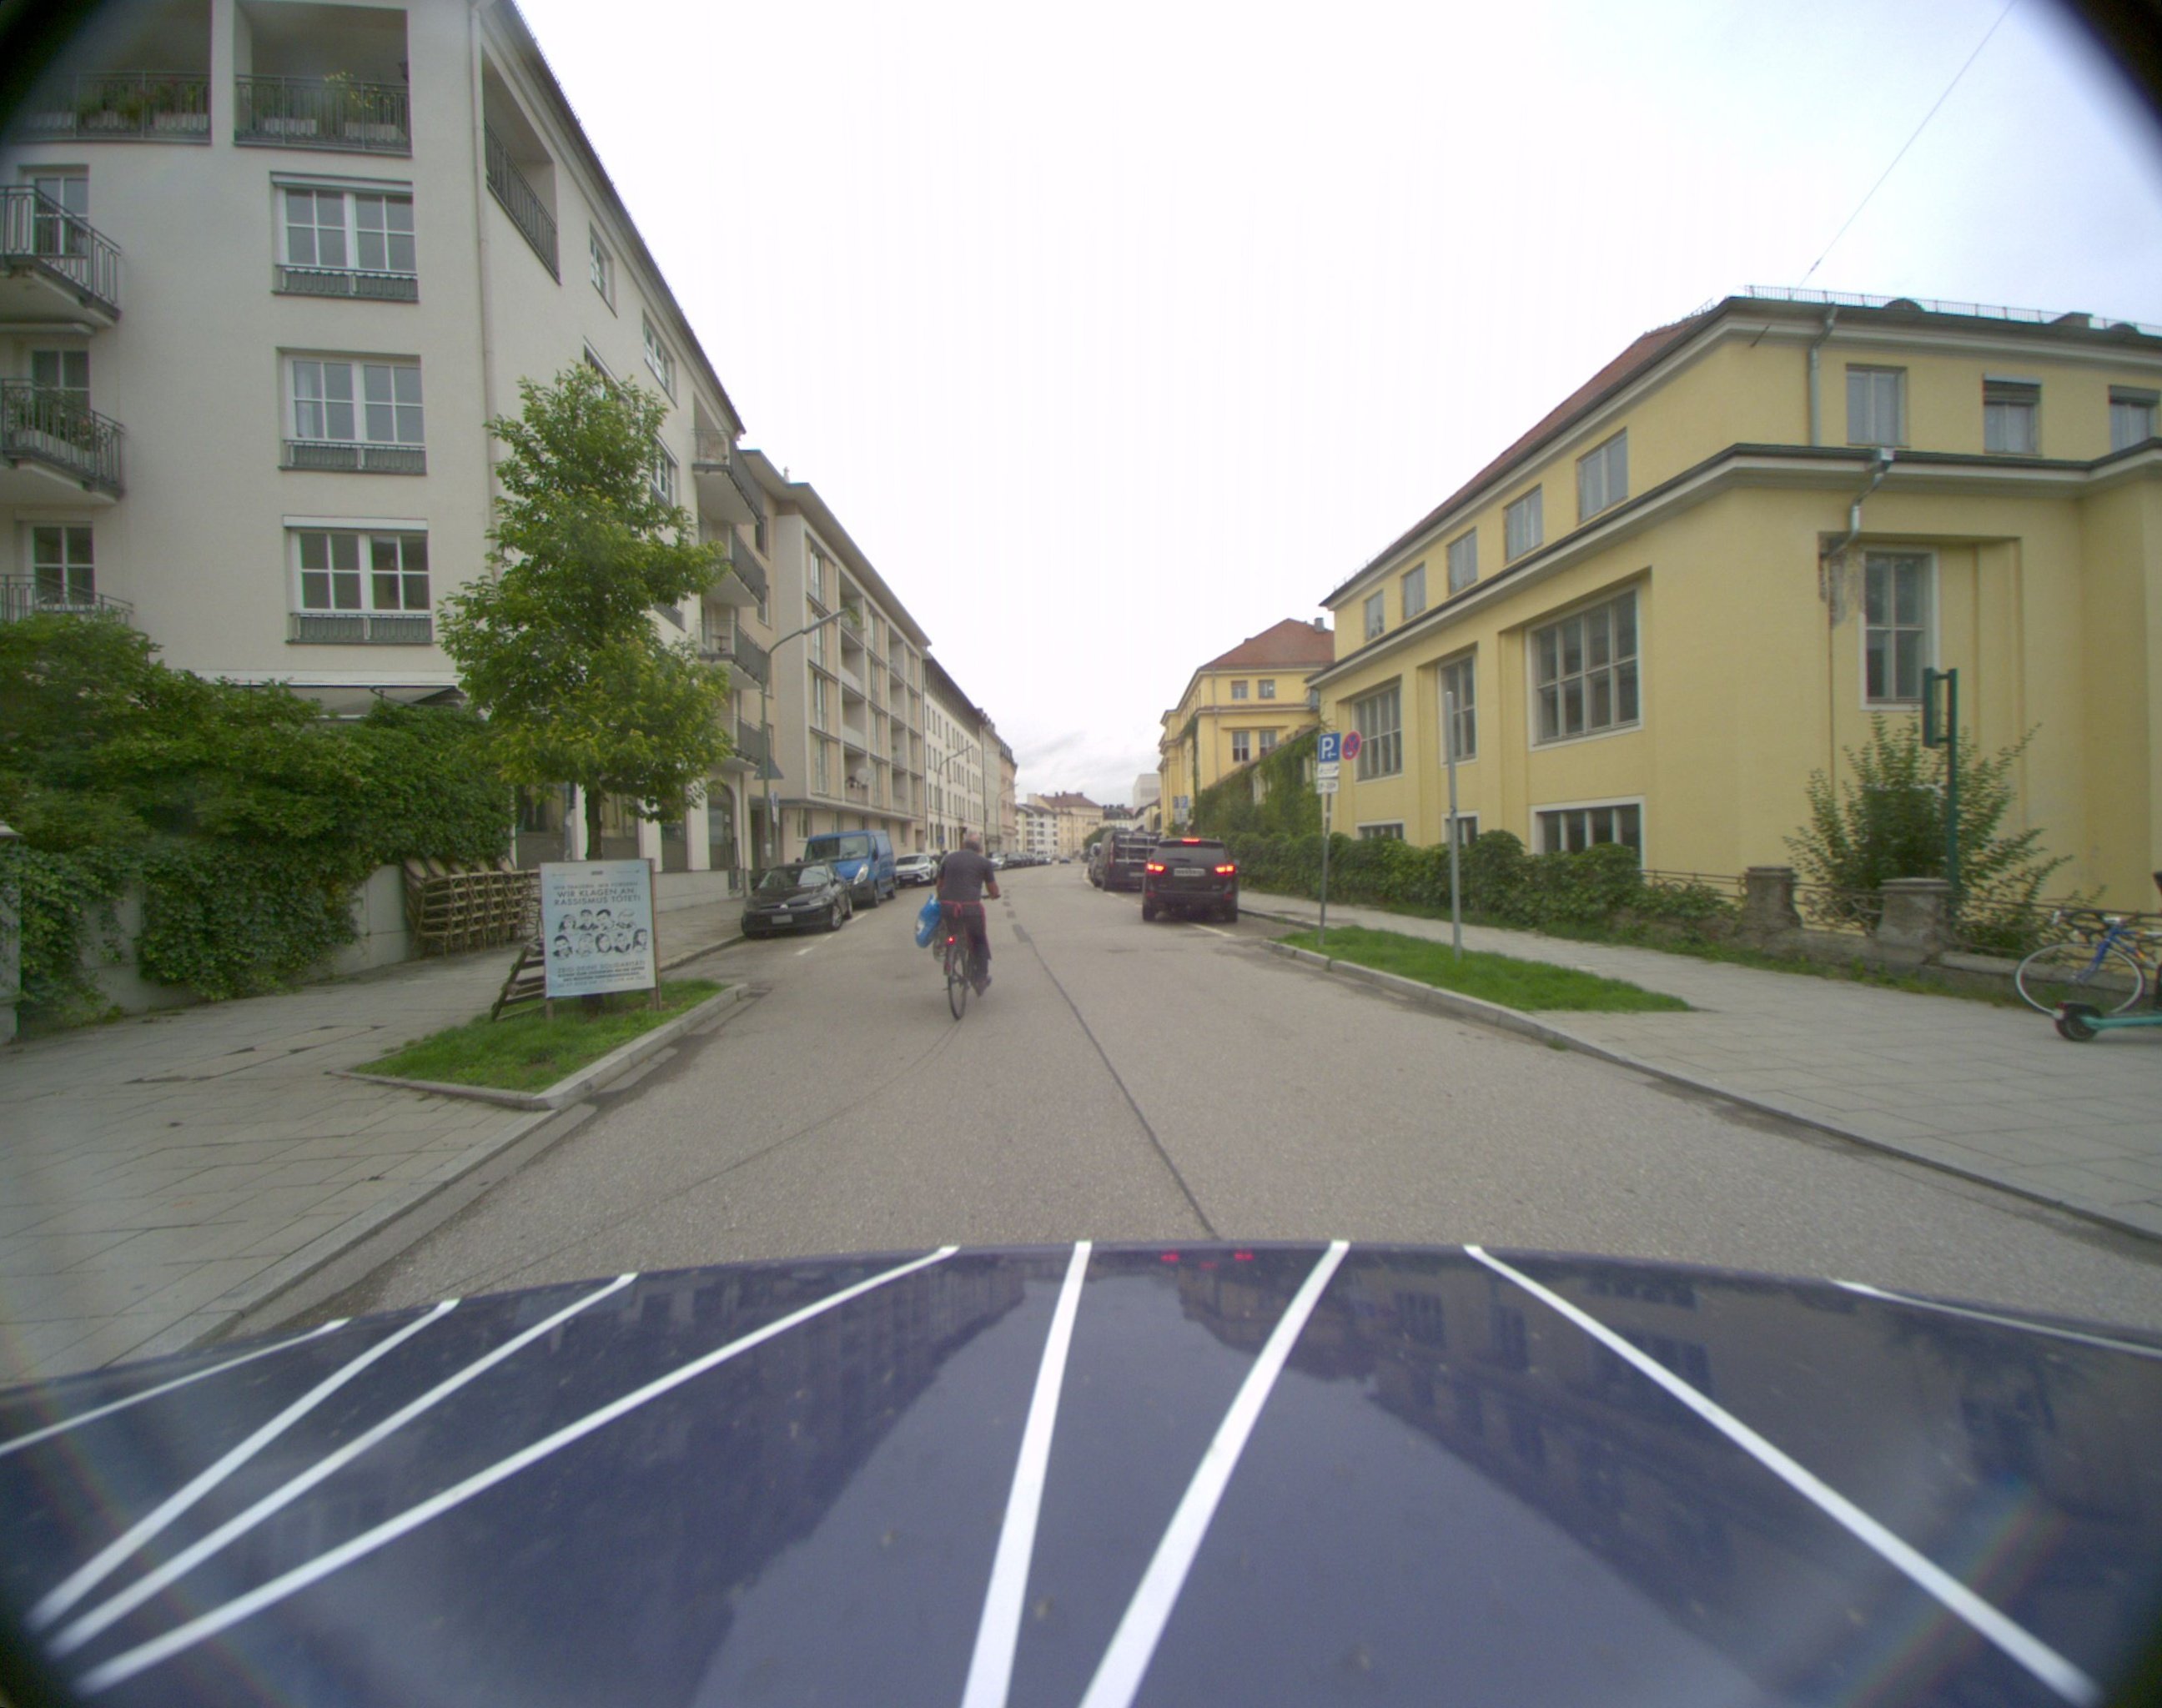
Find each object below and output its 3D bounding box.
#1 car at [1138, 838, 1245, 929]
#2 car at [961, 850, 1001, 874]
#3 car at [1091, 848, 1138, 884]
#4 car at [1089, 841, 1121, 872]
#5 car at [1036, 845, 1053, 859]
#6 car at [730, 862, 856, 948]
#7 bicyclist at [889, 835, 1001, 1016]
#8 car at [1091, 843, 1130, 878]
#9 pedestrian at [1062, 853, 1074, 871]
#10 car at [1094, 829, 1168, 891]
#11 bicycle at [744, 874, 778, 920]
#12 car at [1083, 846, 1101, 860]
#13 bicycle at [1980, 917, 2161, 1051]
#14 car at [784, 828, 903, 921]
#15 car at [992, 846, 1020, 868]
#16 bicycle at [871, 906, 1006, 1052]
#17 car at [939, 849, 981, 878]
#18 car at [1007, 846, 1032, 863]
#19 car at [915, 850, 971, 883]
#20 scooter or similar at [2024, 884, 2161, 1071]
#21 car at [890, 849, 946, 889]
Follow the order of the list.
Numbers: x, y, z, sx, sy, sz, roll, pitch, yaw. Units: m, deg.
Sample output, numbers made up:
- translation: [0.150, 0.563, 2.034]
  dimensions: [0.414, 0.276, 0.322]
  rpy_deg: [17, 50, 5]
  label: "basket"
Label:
- translation: [2.522, 0.555, 16.808]
  dimensions: [1.997, 1.709, 4.618]
  rpy_deg: [-1, 0, 11]
  label: "car"
- translation: [-6.456, 0.469, 49.417]
  dimensions: [1.831, 1.373, 4.491]
  rpy_deg: [-4, 0, 1]
  label: "car"
- translation: [1.370, 0.488, 32.567]
  dimensions: [1.711, 1.357, 4.001]
  rpy_deg: [3, 0, -1]
  label: "car"
- translation: [1.494, 0.133, 48.420]
  dimensions: [1.898, 1.788, 4.881]
  rpy_deg: [3, 0, 1]
  label: "car"
- translation: [-4.473, -0.259, 94.111]
  dimensions: [1.768, 1.531, 4.000]
  rpy_deg: [-4, 0, 2]
  label: "car"
- translation: [-5.976, 0.969, 16.254]
  dimensions: [1.720, 1.387, 3.996]
  rpy_deg: [-5, 1, -10]
  label: "car"
- translation: [-1.269, 0.640, 7.321]
  dimensions: [0.877, 1.600, 1.049]
  rpy_deg: [-1, 1, -2]
  label: "bicyclist"
- translation: [1.398, 0.308, 37.719]
  dimensions: [1.706, 1.597, 4.490]
  rpy_deg: [2, 0, 0]
  label: "car"
- translation: [-2.088, 1.247, 124.669]
  dimensions: [1.929, 2.933, 2.025]
  rpy_deg: [0, 0, 1]
  label: "pedestrian"
- translation: [1.669, 0.210, 27.081]
  dimensions: [1.931, 1.967, 4.620]
  rpy_deg: [1, 0, -5]
  label: "car"
- translation: [-8.217, 1.079, 19.577]
  dimensions: [0.567, 1.063, 1.785]
  rpy_deg: [-1, 0, -16]
  label: "bicycle"
- translation: [2.165, -0.149, 147.805]
  dimensions: [2.848, 2.536, 6.889]
  rpy_deg: [-1, 0, -5]
  label: "car"
- translation: [8.198, 1.021, 5.999]
  dimensions: [0.435, 0.888, 1.327]
  rpy_deg: [-2, 3, -26]
  label: "bicycle"
- translation: [-6.825, 0.454, 22.477]
  dimensions: [2.115, 2.202, 5.024]
  rpy_deg: [-6, 3, -5]
  label: "car"
- translation: [-5.944, 0.231, 60.467]
  dimensions: [1.618, 1.508, 3.380]
  rpy_deg: [-5, 0, 2]
  label: "car"
- translation: [-1.260, 1.084, 7.242]
  dimensions: [0.878, 1.013, 2.190]
  rpy_deg: [-1, 0, -1]
  label: "bicycle"
- translation: [-6.996, 0.498, 44.387]
  dimensions: [1.706, 1.460, 4.119]
  rpy_deg: [-6, 1, -1]
  label: "car"
- translation: [-5.631, 0.081, 70.147]
  dimensions: [1.878, 1.439, 4.700]
  rpy_deg: [-3, 0, 0]
  label: "car"
- translation: [-7.027, 0.589, 39.203]
  dimensions: [1.776, 1.421, 4.693]
  rpy_deg: [-6, 0, 1]
  label: "car"
- translation: [7.537, 0.849, 5.317]
  dimensions: [1.263, 1.237, 0.394]
  rpy_deg: [-1, 3, 4]
  label: "scooter or similar"
- translation: [-7.220, 0.625, 34.062]
  dimensions: [1.781, 1.514, 4.302]
  rpy_deg: [-6, 0, -5]
  label: "car"
